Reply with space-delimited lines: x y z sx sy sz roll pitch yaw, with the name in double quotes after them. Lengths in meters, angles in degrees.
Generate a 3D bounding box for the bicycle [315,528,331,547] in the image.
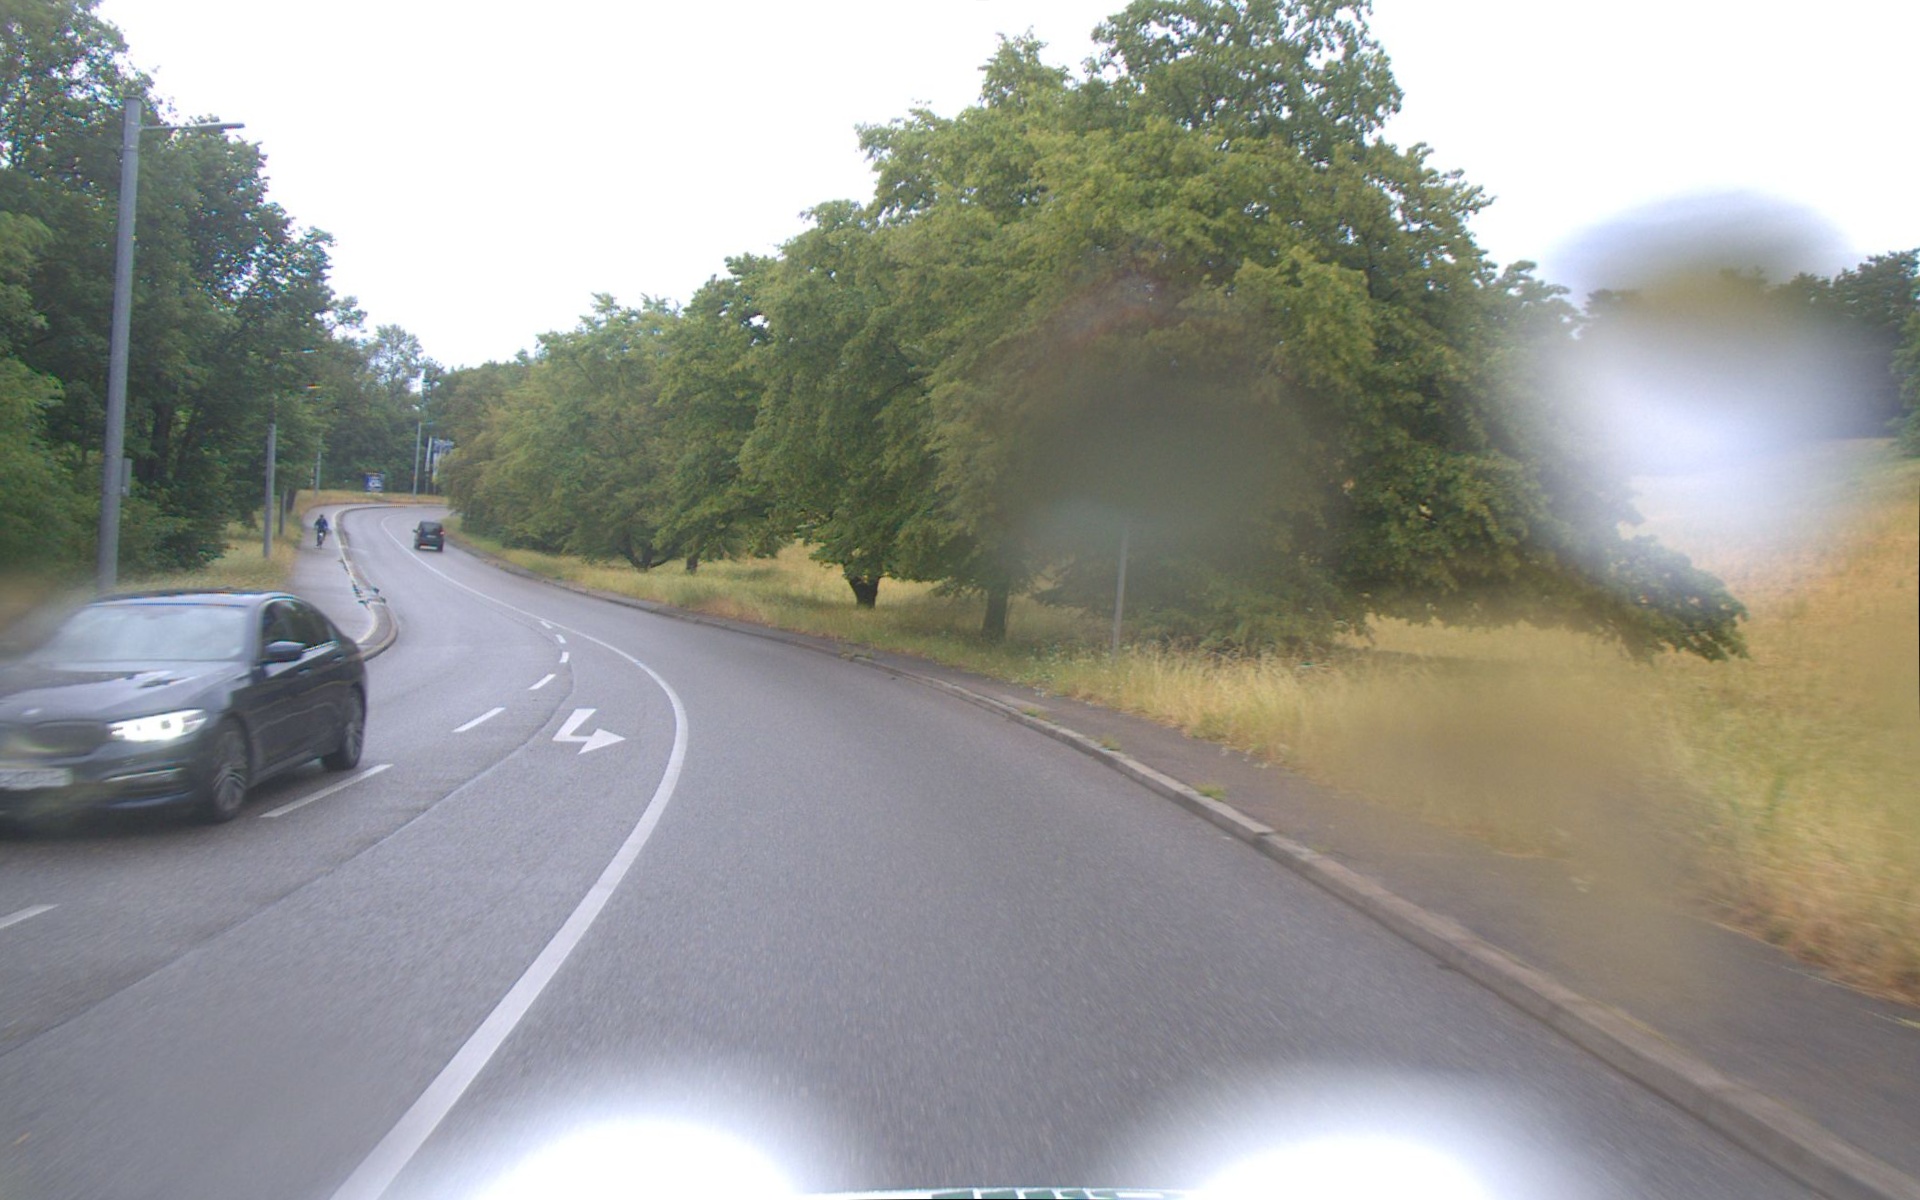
-35.760 -3.539 92.843 0.714 0.958 2.534 5 1 -22 "bicycle"

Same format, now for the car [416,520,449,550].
-34.009 -4.171 106.561 1.717 1.746 3.977 4 1 -21 "car"

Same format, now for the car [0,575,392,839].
-5.595 0.634 11.927 1.811 1.527 4.625 0 0 -6 "car"

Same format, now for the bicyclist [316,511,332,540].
-35.765 -4.193 92.963 0.699 1.582 1.163 5 1 -22 "bicyclist"
